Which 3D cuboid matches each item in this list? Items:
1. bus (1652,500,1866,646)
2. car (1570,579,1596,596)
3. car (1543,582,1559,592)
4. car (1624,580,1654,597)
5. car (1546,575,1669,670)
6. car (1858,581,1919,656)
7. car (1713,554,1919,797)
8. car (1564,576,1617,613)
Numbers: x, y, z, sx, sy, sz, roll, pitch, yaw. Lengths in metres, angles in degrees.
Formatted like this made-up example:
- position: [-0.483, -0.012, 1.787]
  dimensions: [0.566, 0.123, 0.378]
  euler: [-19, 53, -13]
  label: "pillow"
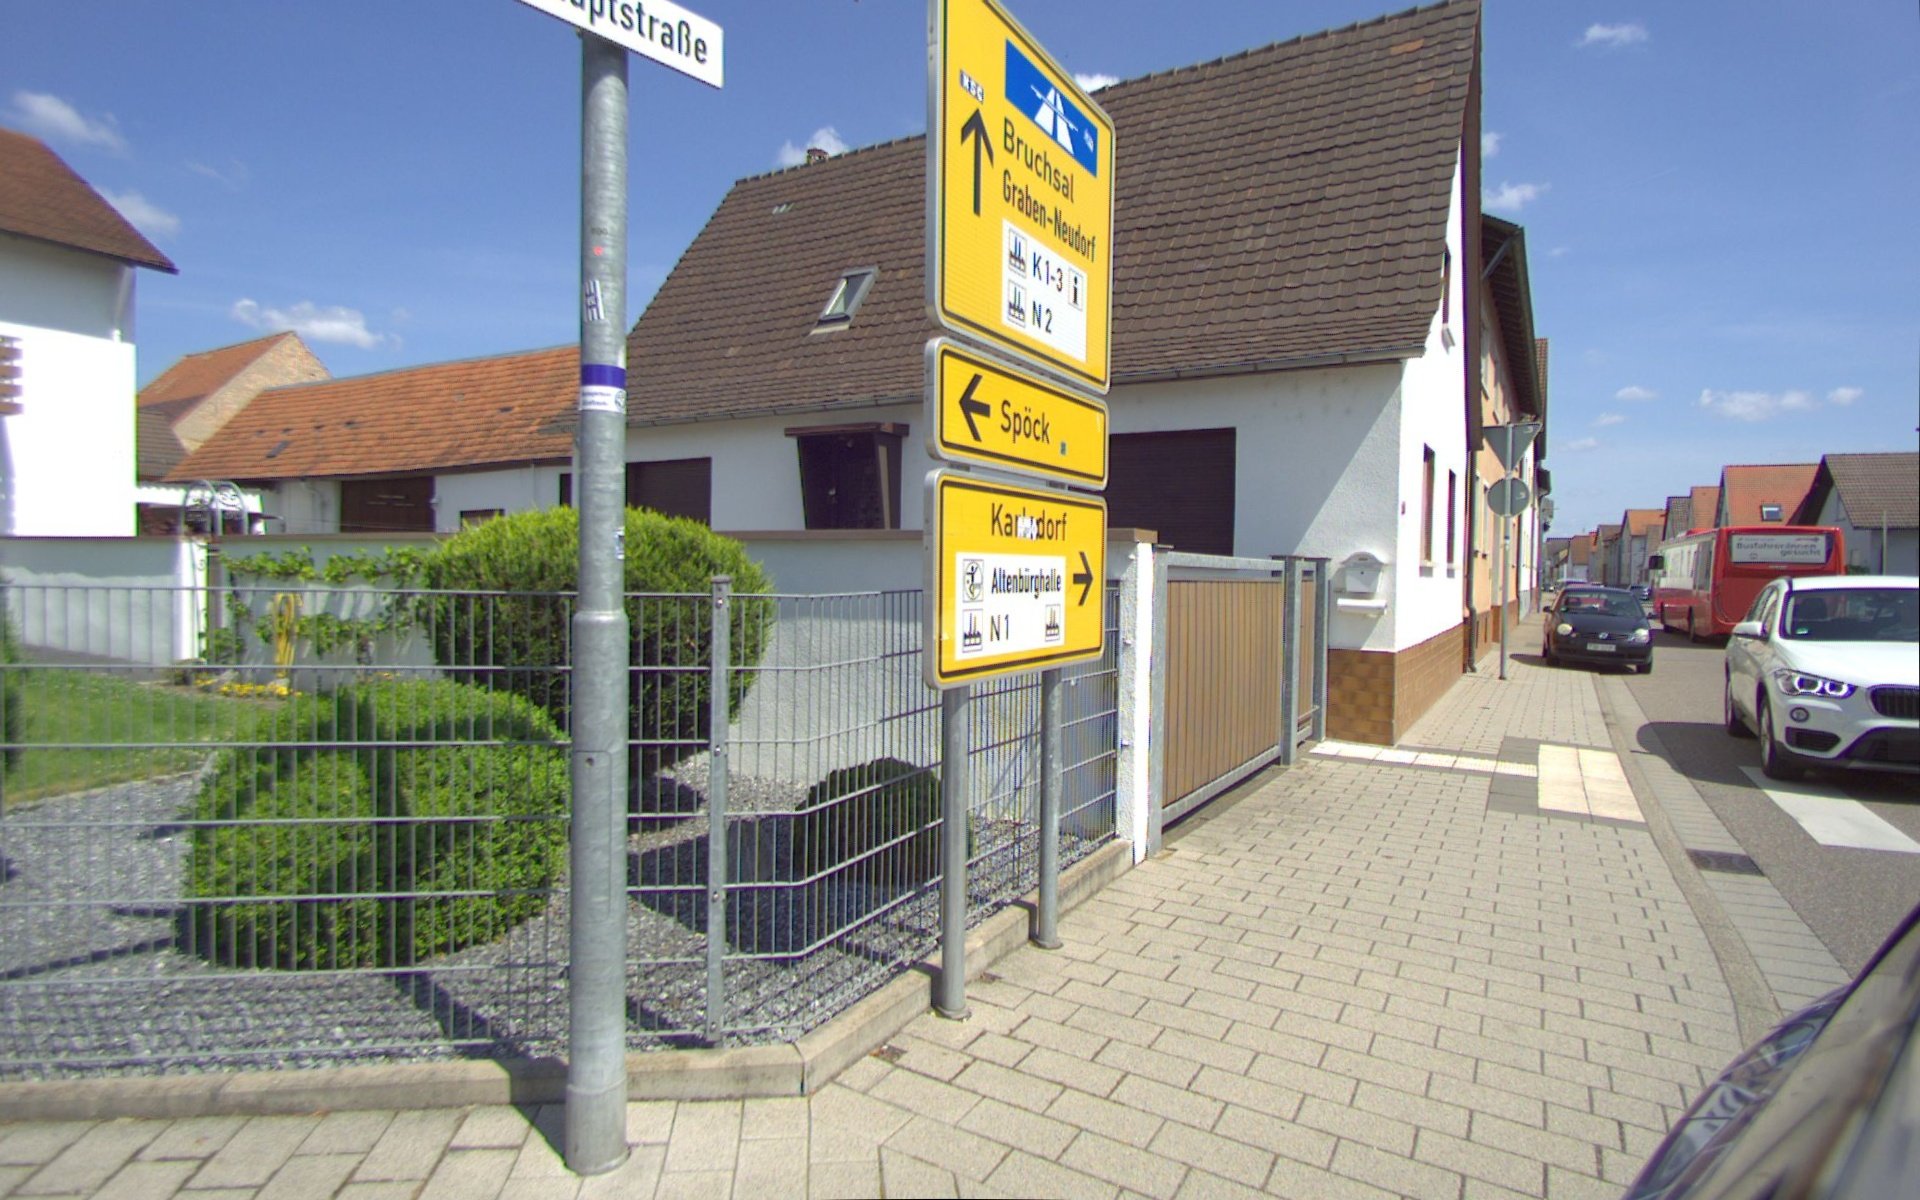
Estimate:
- position: [22.155, -0.806, 28.859]
  dimensions: [2.612, 3.271, 11.904]
  euler: [4, 3, 28]
  label: "bus"
- position: [57.392, -1.150, 93.304]
  dimensions: [1.750, 1.446, 4.149]
  euler: [2, 2, 28]
  label: "car"
- position: [87.370, -1.968, 149.632]
  dimensions: [1.750, 1.446, 3.815]
  euler: [2, 2, 28]
  label: "car"
- position: [59.877, -1.018, 89.229]
  dimensions: [1.750, 1.446, 3.815]
  euler: [2, 2, 28]
  label: "car"
- position: [11.802, 0.335, 18.618]
  dimensions: [1.678, 1.481, 3.590]
  euler: [4, 3, 31]
  label: "car"
- position: [22.508, 0.370, 23.409]
  dimensions: [1.734, 1.535, 3.959]
  euler: [-3, 0, 29]
  label: "car"
- position: [7.861, 0.485, 8.674]
  dimensions: [1.831, 1.666, 4.326]
  euler: [-1, 0, 31]
  label: "car"
- position: [26.671, -0.258, 42.900]
  dimensions: [1.752, 1.446, 4.144]
  euler: [2, 2, 31]
  label: "car"
